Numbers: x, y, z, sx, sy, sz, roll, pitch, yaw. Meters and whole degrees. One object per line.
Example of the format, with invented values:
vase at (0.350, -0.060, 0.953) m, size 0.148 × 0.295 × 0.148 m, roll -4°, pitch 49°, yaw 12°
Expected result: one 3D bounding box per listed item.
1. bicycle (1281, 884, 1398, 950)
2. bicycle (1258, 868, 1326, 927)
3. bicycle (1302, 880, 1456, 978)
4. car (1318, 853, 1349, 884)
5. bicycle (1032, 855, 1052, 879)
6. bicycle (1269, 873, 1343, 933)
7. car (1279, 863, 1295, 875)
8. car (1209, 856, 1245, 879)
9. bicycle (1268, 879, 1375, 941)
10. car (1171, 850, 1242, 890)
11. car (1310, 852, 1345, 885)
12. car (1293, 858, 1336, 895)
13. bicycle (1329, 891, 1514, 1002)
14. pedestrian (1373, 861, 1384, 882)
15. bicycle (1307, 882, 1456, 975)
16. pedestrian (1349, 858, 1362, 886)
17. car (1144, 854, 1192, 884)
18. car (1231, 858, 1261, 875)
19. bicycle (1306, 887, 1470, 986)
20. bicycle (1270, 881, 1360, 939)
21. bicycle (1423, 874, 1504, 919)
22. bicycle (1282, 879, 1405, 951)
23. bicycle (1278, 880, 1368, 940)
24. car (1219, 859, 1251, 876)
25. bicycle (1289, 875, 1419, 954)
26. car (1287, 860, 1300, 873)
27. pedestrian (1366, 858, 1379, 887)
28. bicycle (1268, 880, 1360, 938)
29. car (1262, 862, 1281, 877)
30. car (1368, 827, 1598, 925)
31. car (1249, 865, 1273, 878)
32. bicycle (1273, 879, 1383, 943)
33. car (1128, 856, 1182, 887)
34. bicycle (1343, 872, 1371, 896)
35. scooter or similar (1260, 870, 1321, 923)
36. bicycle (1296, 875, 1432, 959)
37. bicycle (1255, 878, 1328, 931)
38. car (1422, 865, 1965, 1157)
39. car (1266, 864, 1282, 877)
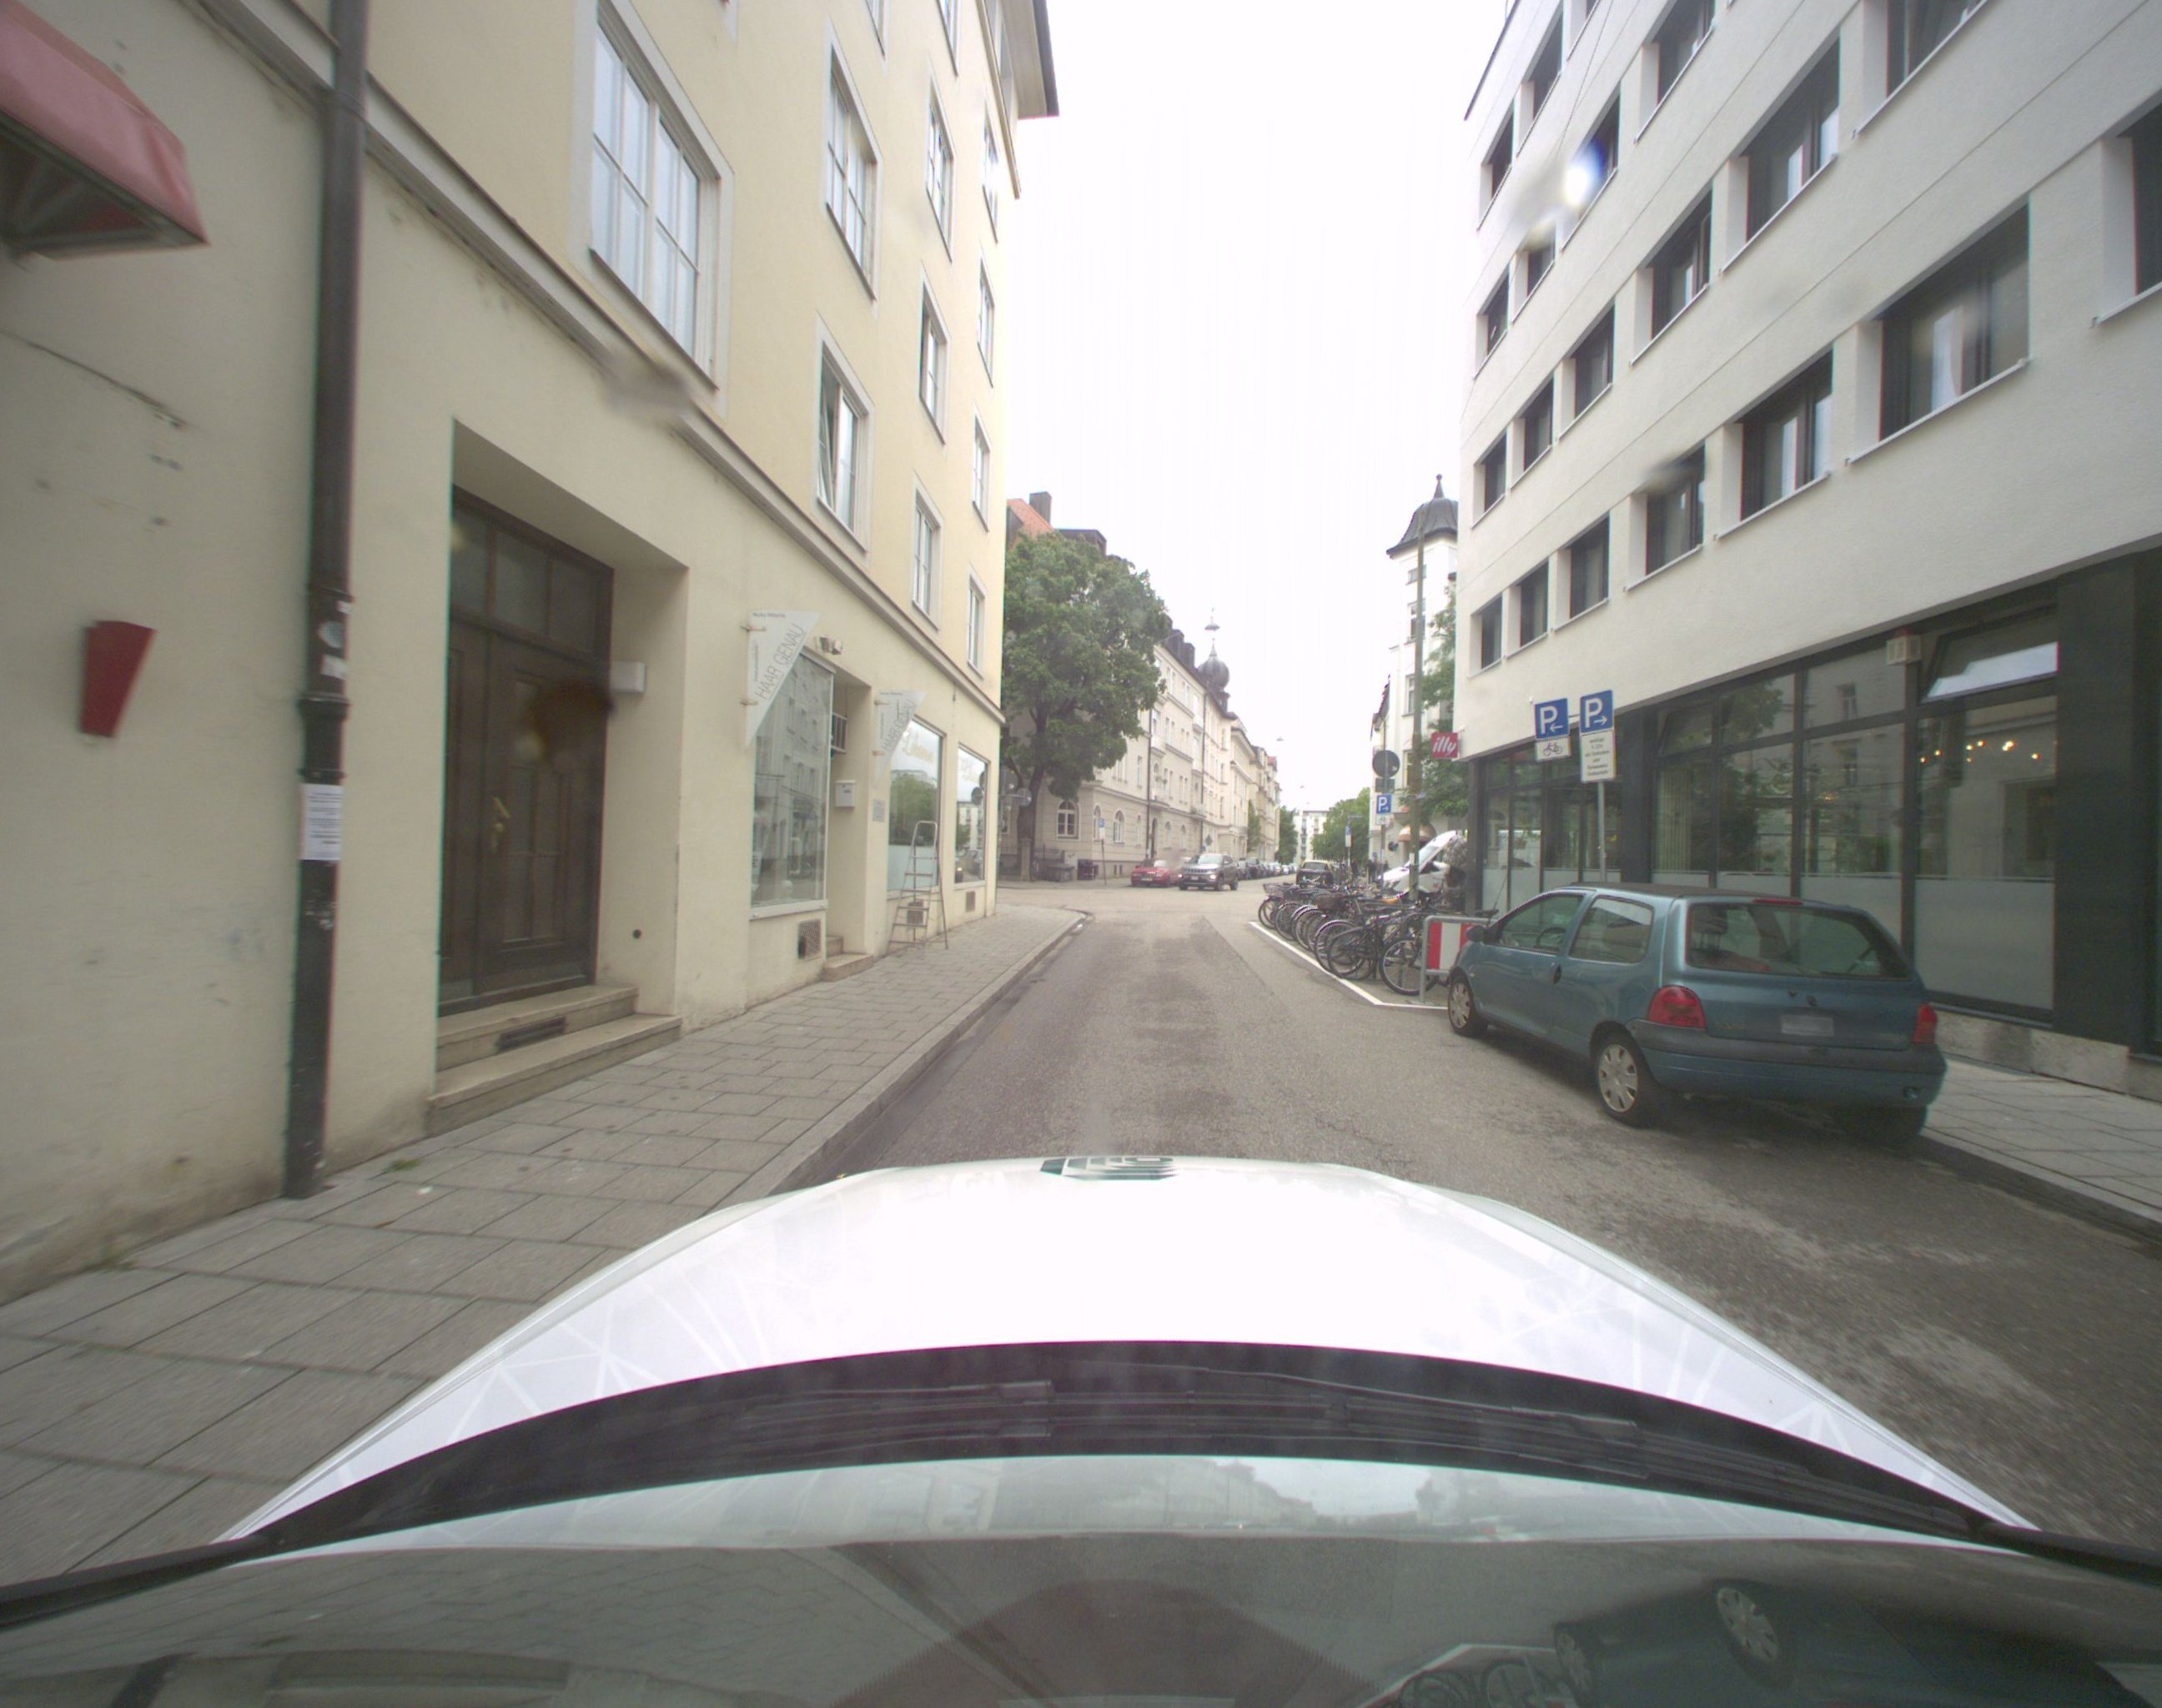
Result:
bicycle at (4.506, 1.090, 14.260) m, size 1.867 × 1.052 × 0.564 m, roll 2°, pitch -2°, yaw 1°
bicycle at (4.879, 0.998, 18.872) m, size 1.449 × 1.285 × 0.446 m, roll 2°, pitch 0°, yaw 6°
bicycle at (3.997, 0.995, 10.997) m, size 1.866 × 1.204 × 0.489 m, roll 2°, pitch 1°, yaw 2°
car at (17.427, 1.012, 56.077) m, size 1.805 × 1.923 × 4.203 m, roll 4°, pitch 0°, yaw 19°
bicycle at (-1.814, 0.600, 38.247) m, size 0.490 × 1.052 × 1.832 m, roll 2°, pitch 2°, yaw 10°
bicycle at (4.802, 1.043, 17.410) m, size 1.447 × 1.207 × 0.395 m, roll 2°, pitch 0°, yaw -3°
car at (29.747, 2.133, 117.583) m, size 1.979 × 1.574 × 4.016 m, roll 2°, pitch 0°, yaw 16°
car at (10.685, 0.979, 59.441) m, size 1.910 × 1.546 × 4.019 m, roll 2°, pitch 0°, yaw 19°
bicycle at (4.532, 1.047, 15.400) m, size 1.867 × 1.079 × 0.408 m, roll 2°, pitch 1°, yaw 1°
car at (5.574, 0.689, 35.750) m, size 1.940 × 1.607 × 4.333 m, roll 2°, pitch 0°, yaw 24°
car at (15.582, 0.914, 51.366) m, size 1.805 × 1.870 × 4.309 m, roll 4°, pitch 0°, yaw 19°
car at (11.947, 1.102, 41.435) m, size 1.805 × 1.636 × 4.309 m, roll 4°, pitch 0°, yaw 19°
bicycle at (3.907, 1.056, 9.427) m, size 1.866 × 1.079 × 0.489 m, roll 4°, pitch 1°, yaw 2°
pedestrian at (26.779, 1.562, 73.337) m, size 0.771 × 1.851 × 0.864 m, roll 2°, pitch 0°, yaw 26°
bicycle at (4.277, 1.044, 11.661) m, size 1.866 × 1.157 × 0.565 m, roll 3°, pitch 1°, yaw 2°
pedestrian at (18.307, 1.201, 54.238) m, size 0.772 × 1.851 × 1.028 m, roll 2°, pitch 0°, yaw 19°
car at (4.714, 0.780, 43.601) m, size 1.980 × 1.473 × 4.233 m, roll 2°, pitch 0°, yaw 13°
car at (14.046, 1.062, 69.197) m, size 1.891 × 1.329 × 4.019 m, roll 2°, pitch 0°, yaw 19°
bicycle at (3.922, 1.047, 10.480) m, size 1.866 × 1.108 × 0.489 m, roll 3°, pitch 1°, yaw 2°
bicycle at (4.651, 1.113, 16.219) m, size 1.668 × 1.079 × 0.336 m, roll 2°, pitch 1°, yaw 1°
bicycle at (10.488, 1.154, 22.389) m, size 1.890 × 1.127 × 0.593 m, roll 2°, pitch 0°, yaw 9°
bicycle at (4.350, 1.013, 13.566) m, size 1.867 × 1.095 × 0.440 m, roll 2°, pitch 1°, yaw 1°
bicycle at (4.687, 1.073, 15.830) m, size 1.607 × 1.079 × 0.378 m, roll 2°, pitch 1°, yaw 1°
car at (12.241, 1.076, 64.701) m, size 1.891 × 1.222 × 4.019 m, roll 2°, pitch 0°, yaw 19°
bicycle at (4.342, 0.952, 13.022) m, size 1.886 × 1.170 × 0.566 m, roll 1°, pitch 0°, yaw 2°
car at (35.141, 2.013, 134.664) m, size 1.832 × 2.013 × 4.017 m, roll 2°, pitch 0°, yaw 17°
pedestrian at (19.145, 1.204, 53.462) m, size 0.772 × 1.851 × 1.028 m, roll 2°, pitch 0°, yaw 19°
bicycle at (4.743, 1.118, 16.627) m, size 1.734 × 1.079 × 0.452 m, roll 2°, pitch 1°, yaw 1°
car at (21.377, 1.762, 91.479) m, size 1.807 × 1.574 × 4.016 m, roll 2°, pitch 0°, yaw 16°
car at (11.972, 0.596, 24.673) m, size 5.858 × 2.591 × 2.065 m, roll 2°, pitch 1°, yaw 9°
car at (17.791, 1.701, 80.412) m, size 1.891 × 1.222 × 4.018 m, roll 2°, pitch 0°, yaw 17°
bicycle at (4.530, 1.036, 14.959) m, size 1.867 × 1.079 × 0.402 m, roll 2°, pitch 1°, yaw 1°
car at (3.595, 0.818, 39.018) m, size 1.717 × 1.378 × 4.245 m, roll 2°, pitch 0°, yaw 17°
bicycle at (12.618, 1.362, 37.302) m, size 0.538 × 0.999 × 1.752 m, roll -1°, pitch 0°, yaw -5°
scooter or similar at (5.049, 1.020, 19.659) m, size 1.345 × 1.210 × 0.418 m, roll 2°, pitch 0°, yaw 6°
bicycle at (4.277, 0.945, 12.396) m, size 1.866 × 1.204 × 0.580 m, roll 1°, pitch 0°, yaw 2°
bicycle at (4.602, 1.102, 17.879) m, size 1.447 × 1.069 × 0.463 m, roll 2°, pitch 0°, yaw -3°
car at (4.038, 0.863, 6.169) m, size 1.573 × 1.464 × 3.555 m, roll 2°, pitch 0°, yaw 4°
car at (23.037, 1.952, 97.228) m, size 1.721 × 1.419 × 4.016 m, roll 2°, pitch 0°, yaw 15°
